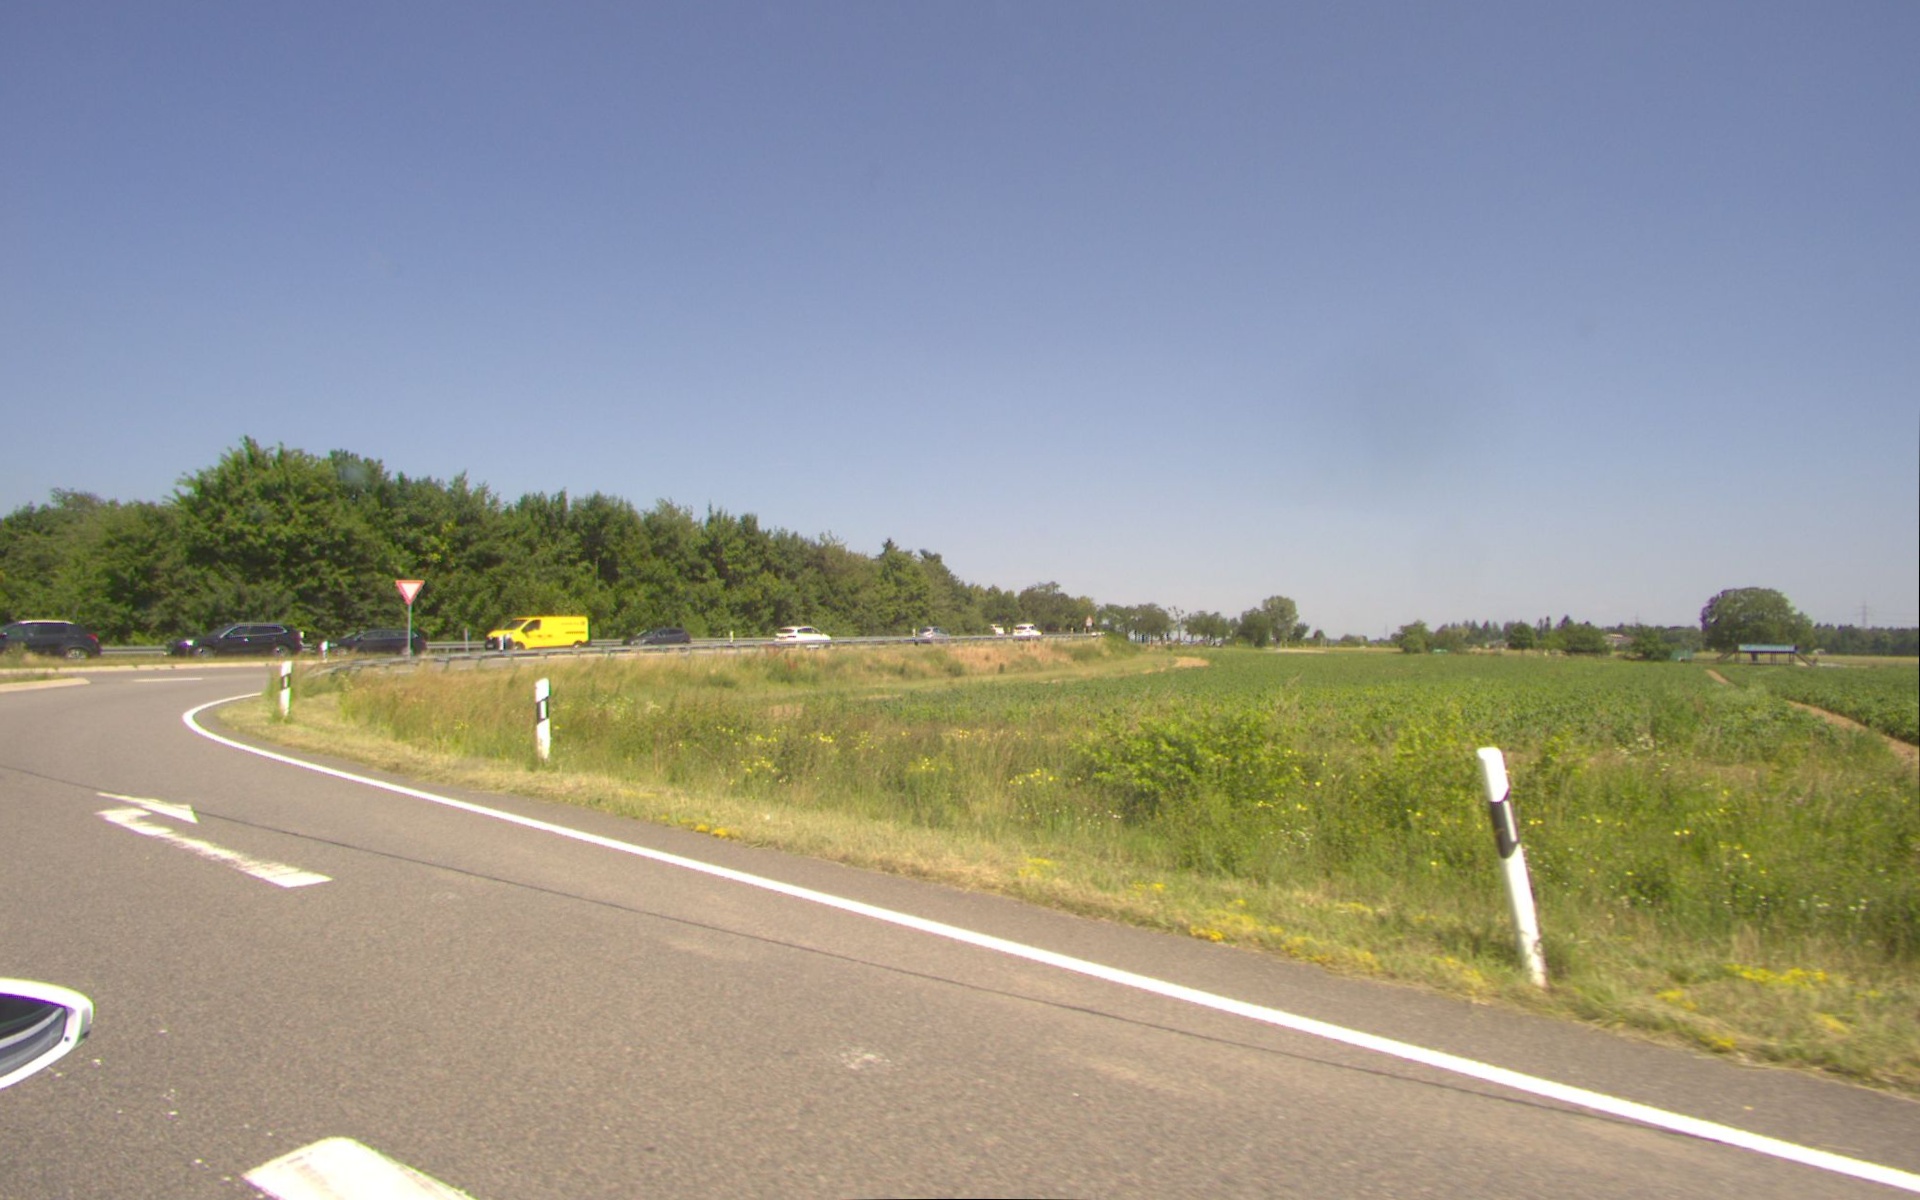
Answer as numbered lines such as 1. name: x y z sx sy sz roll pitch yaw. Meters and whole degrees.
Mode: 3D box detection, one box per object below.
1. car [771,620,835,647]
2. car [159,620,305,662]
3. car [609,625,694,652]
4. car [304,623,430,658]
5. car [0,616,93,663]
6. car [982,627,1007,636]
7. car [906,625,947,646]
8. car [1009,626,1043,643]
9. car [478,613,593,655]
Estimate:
1. car: -9.760 2.074 62.656 1.712 1.587 4.466 -1 0 27
2. car: -29.284 1.628 40.426 1.744 1.618 4.475 -1 -2 35
3. car: -17.821 2.219 58.034 1.828 1.533 4.671 -1 -2 34
4. car: -27.285 1.856 46.186 1.831 1.533 4.664 -1 -2 39
5. car: -34.239 1.438 36.317 1.818 1.661 3.971 -1 -2 38
6. car: 4.943 4.514 143.200 1.693 1.204 3.979 1 -2 -31
7. car: -2.592 2.774 78.241 1.712 1.587 3.681 -1 -2 27
8. car: 6.343 3.257 95.740 1.711 1.587 4.470 -1 -2 25
9. car: -21.785 1.730 51.602 1.972 2.039 5.311 -1 -2 33
